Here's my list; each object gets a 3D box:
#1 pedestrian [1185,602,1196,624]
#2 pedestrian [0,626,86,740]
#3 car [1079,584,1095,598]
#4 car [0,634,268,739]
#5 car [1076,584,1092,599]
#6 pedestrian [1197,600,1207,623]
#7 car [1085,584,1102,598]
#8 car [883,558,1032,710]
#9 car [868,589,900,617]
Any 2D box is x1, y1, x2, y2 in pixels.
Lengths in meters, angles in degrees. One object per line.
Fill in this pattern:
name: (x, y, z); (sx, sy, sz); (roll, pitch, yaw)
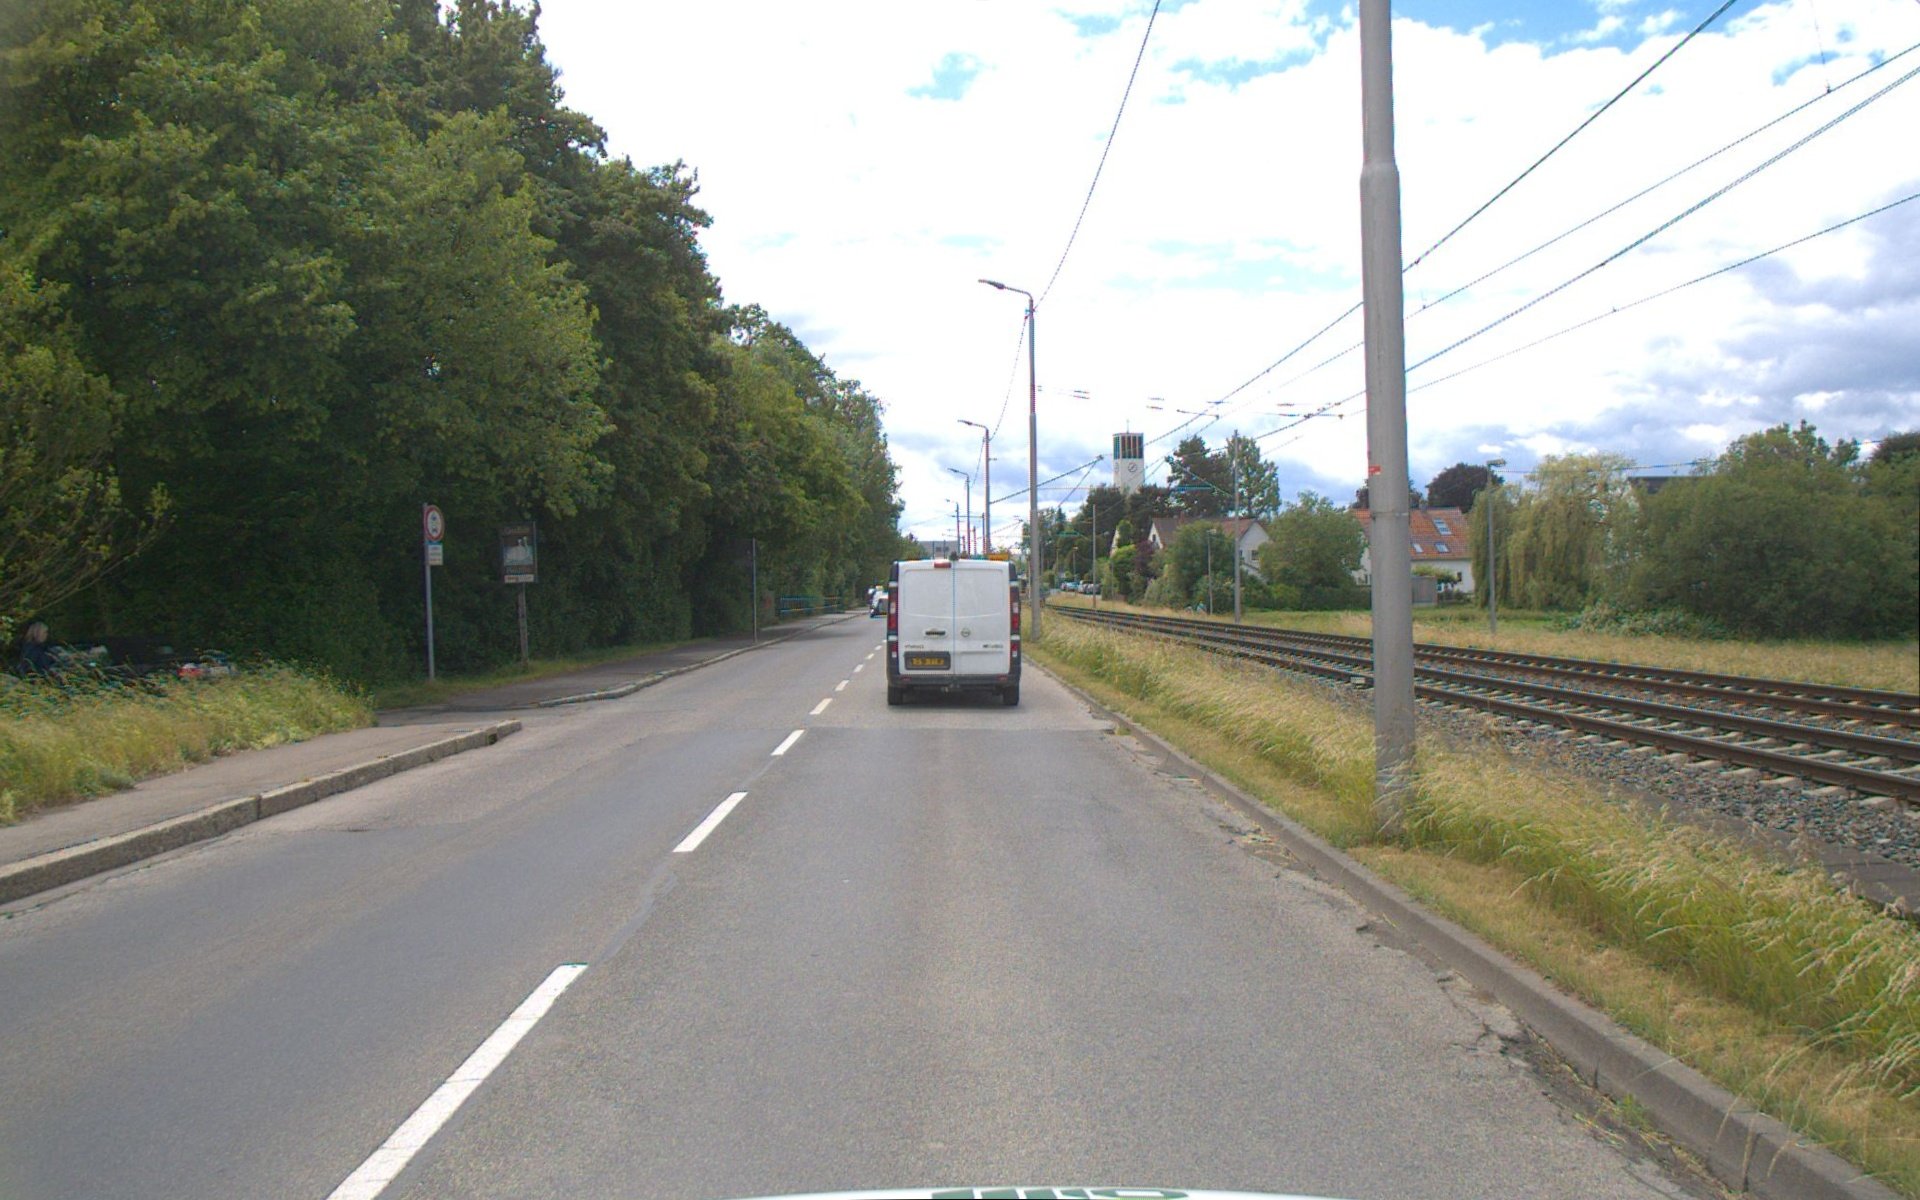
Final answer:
pedestrian: (16.056, 0.919, 115.304); (0.643, 1.532, 0.656); (-1, 0, -2)
pedestrian: (-13.245, 1.166, 23.588); (1.014, 1.557, 0.941); (-2, 0, -1)
car: (18.192, -1.227, 237.109); (1.953, 1.848, 3.998); (1, -1, -2)
car: (-12.808, 1.296, 24.966); (3.905, 1.321, 1.745); (-3, 0, 0)
car: (18.100, -1.294, 241.453); (1.953, 2.049, 3.998); (1, -1, -2)
pedestrian: (16.801, 0.792, 114.912); (0.515, 1.532, 0.656); (-1, 0, -2)
car: (18.638, -1.267, 231.081); (1.953, 1.747, 3.998); (1, -1, -2)
car: (-0.103, 0.417, 23.689); (1.953, 1.991, 3.998); (0, 1, -2)
car: (-4.794, 0.193, 105.003); (1.954, 1.747, 4.122); (-1, 0, -3)
